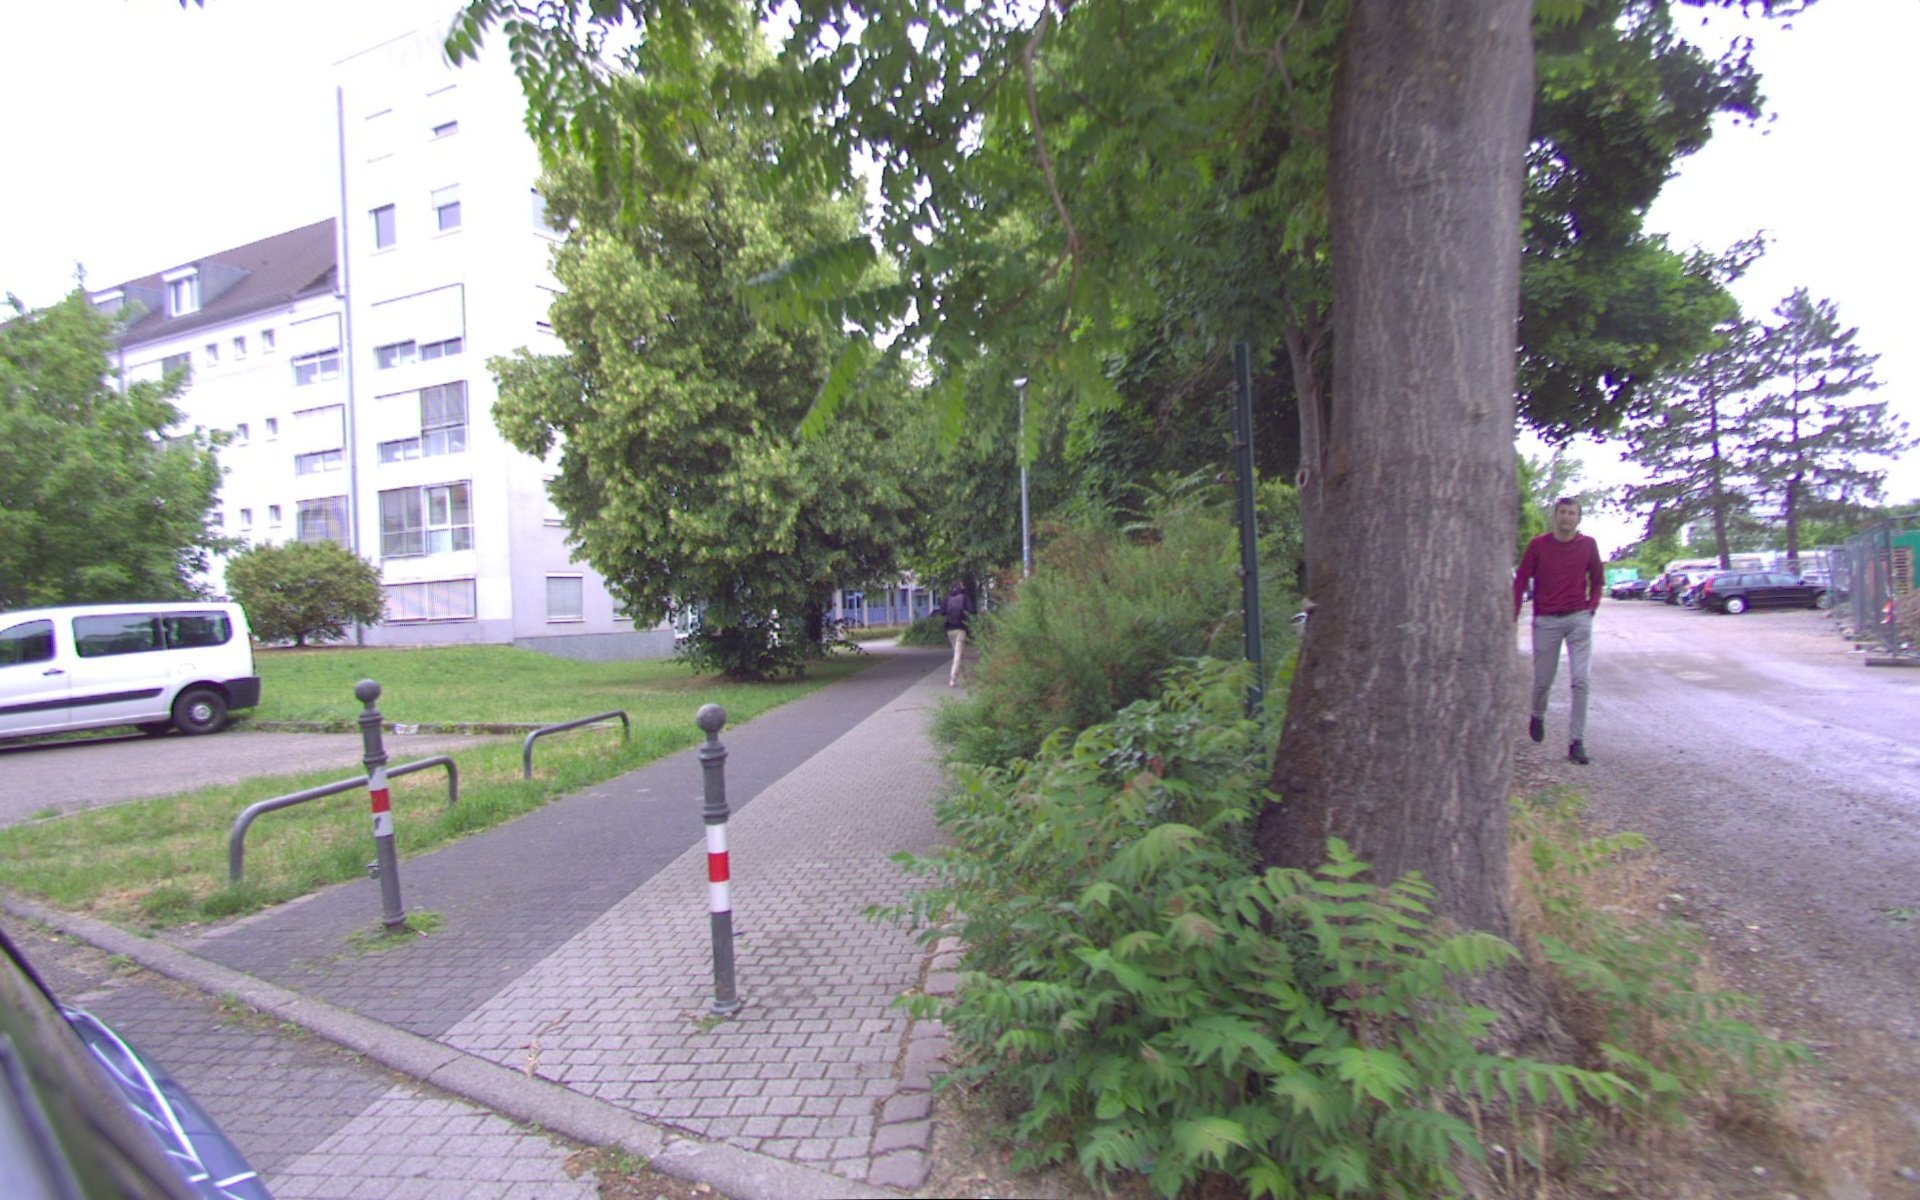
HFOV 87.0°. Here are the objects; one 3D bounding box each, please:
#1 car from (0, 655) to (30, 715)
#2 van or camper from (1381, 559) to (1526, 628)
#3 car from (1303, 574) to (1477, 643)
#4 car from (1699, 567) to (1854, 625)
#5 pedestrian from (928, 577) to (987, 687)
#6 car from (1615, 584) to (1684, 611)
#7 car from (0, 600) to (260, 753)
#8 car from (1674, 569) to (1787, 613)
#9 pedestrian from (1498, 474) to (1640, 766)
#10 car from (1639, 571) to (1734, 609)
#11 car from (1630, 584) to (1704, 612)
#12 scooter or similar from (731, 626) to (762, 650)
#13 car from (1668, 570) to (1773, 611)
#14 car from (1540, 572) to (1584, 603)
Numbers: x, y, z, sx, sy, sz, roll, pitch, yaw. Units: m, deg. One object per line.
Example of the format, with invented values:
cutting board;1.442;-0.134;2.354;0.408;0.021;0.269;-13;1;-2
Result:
car;-29.875;2.585;29.004;1.988;1.748;4.305;-2;-1;25
van or camper;17.669;-0.193;36.289;4.486;2.275;1.979;-2;0;32
car;10.714;0.220;25.525;3.856;1.586;1.741;-2;0;20
car;28.055;-0.120;34.918;3.995;1.851;1.974;-2;0;39
pedestrian;-0.044;0.512;16.646;0.680;1.762;0.614;-2;-1;35
car;51.002;-0.185;74.976;3.983;1.851;1.981;-2;0;29
car;-12.726;1.058;13.889;1.895;1.887;4.721;-5;-2;32
car;35.311;-0.381;46.472;3.995;1.851;1.974;-2;0;39
pedestrian;4.721;0.148;7.935;0.791;2.080;1.190;-2;-1;27
car;38.455;-0.500;53.593;3.995;1.851;1.974;-2;0;39
car;49.972;-0.141;71.612;3.983;1.851;1.981;-2;0;29
scooter or similar;-11.641;2.040;55.231;0.787;1.197;2.511;-2;0;9
car;37.201;-0.450;49.576;3.995;1.851;1.974;-2;0;39
car;41.604;-0.839;70.015;2.113;2.029;3.968;-2;0;24
